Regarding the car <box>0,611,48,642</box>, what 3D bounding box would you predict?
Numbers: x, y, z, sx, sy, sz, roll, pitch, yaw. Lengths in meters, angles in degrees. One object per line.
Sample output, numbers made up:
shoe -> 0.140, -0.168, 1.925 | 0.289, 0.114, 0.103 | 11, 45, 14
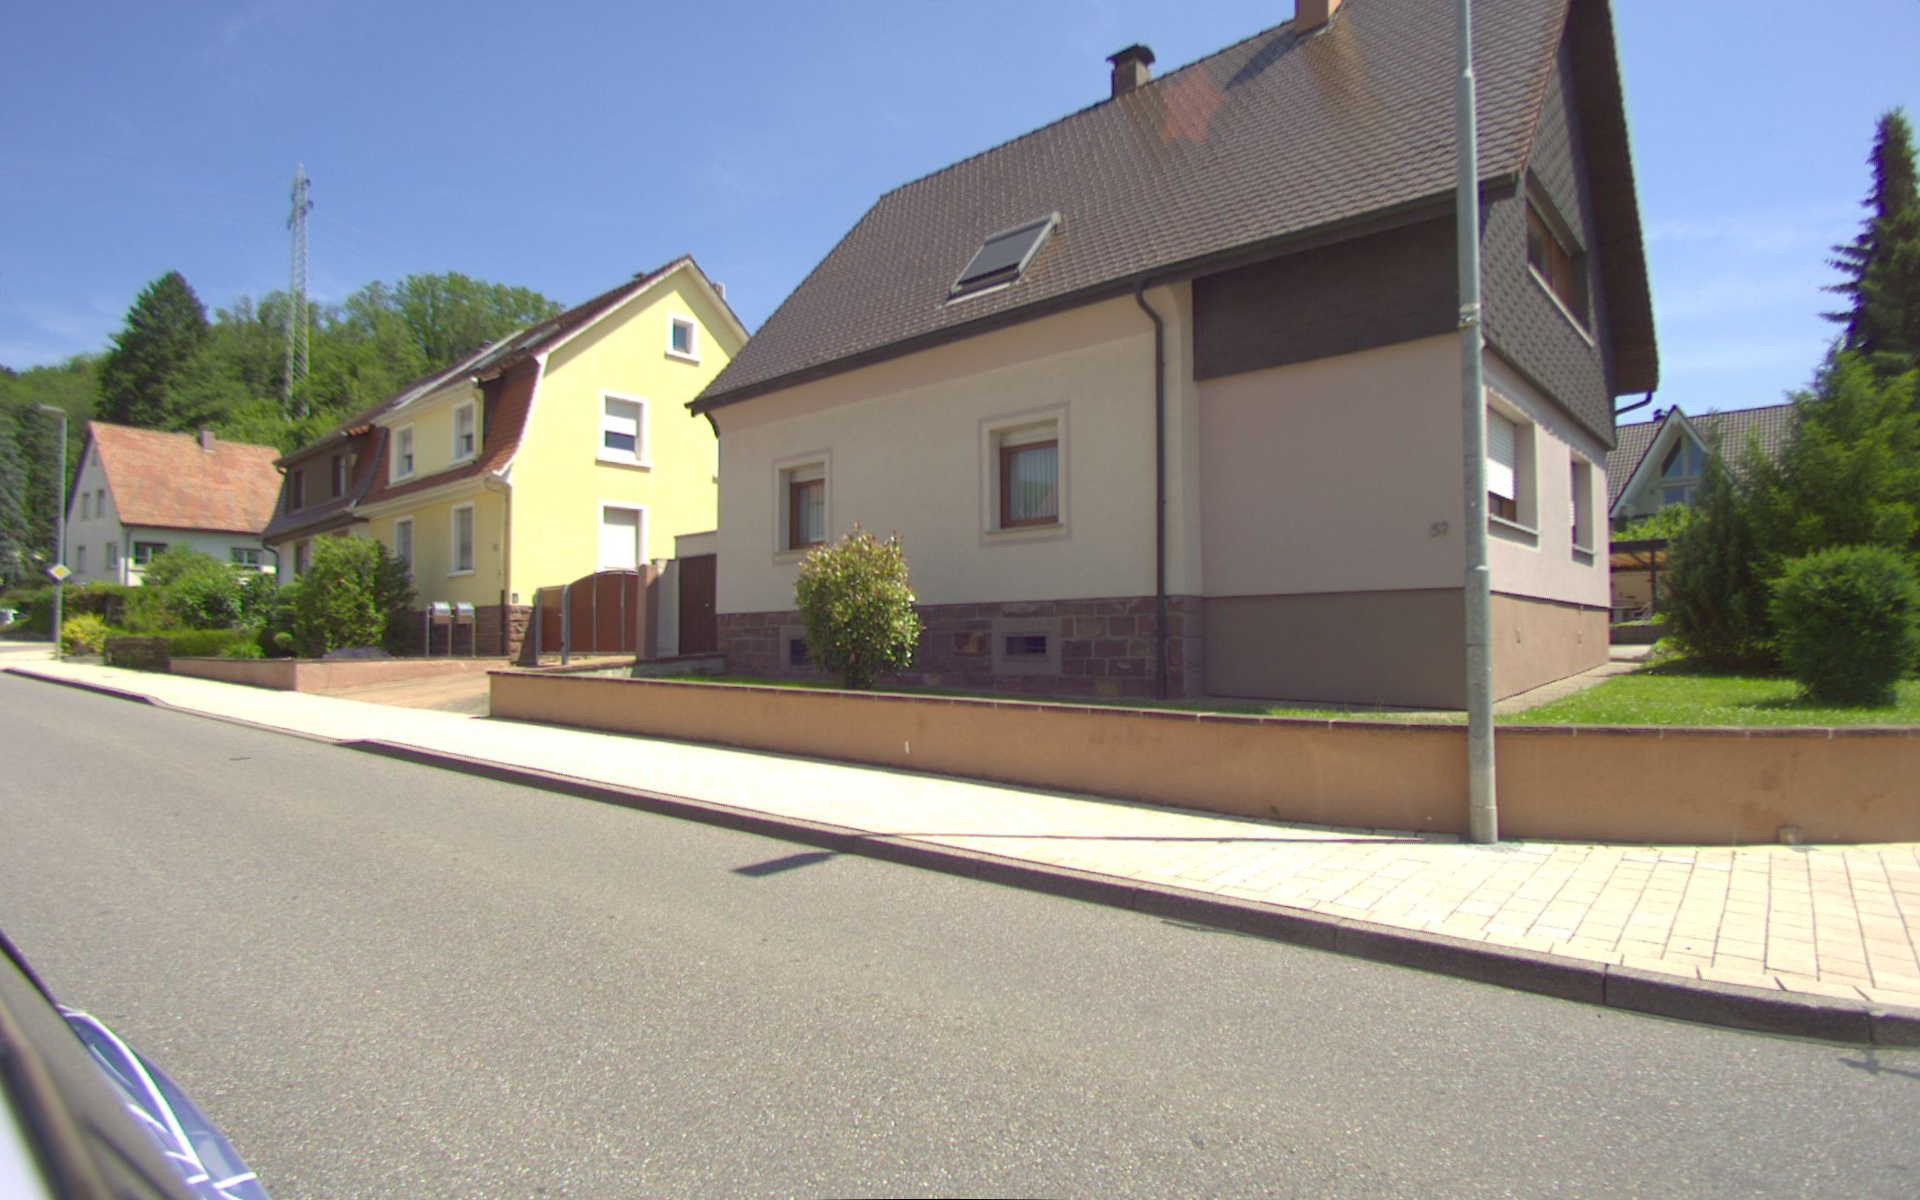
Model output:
car -> -56.970, 1.552, 59.966 | 1.795, 1.803, 3.978 | -1, -1, 17
